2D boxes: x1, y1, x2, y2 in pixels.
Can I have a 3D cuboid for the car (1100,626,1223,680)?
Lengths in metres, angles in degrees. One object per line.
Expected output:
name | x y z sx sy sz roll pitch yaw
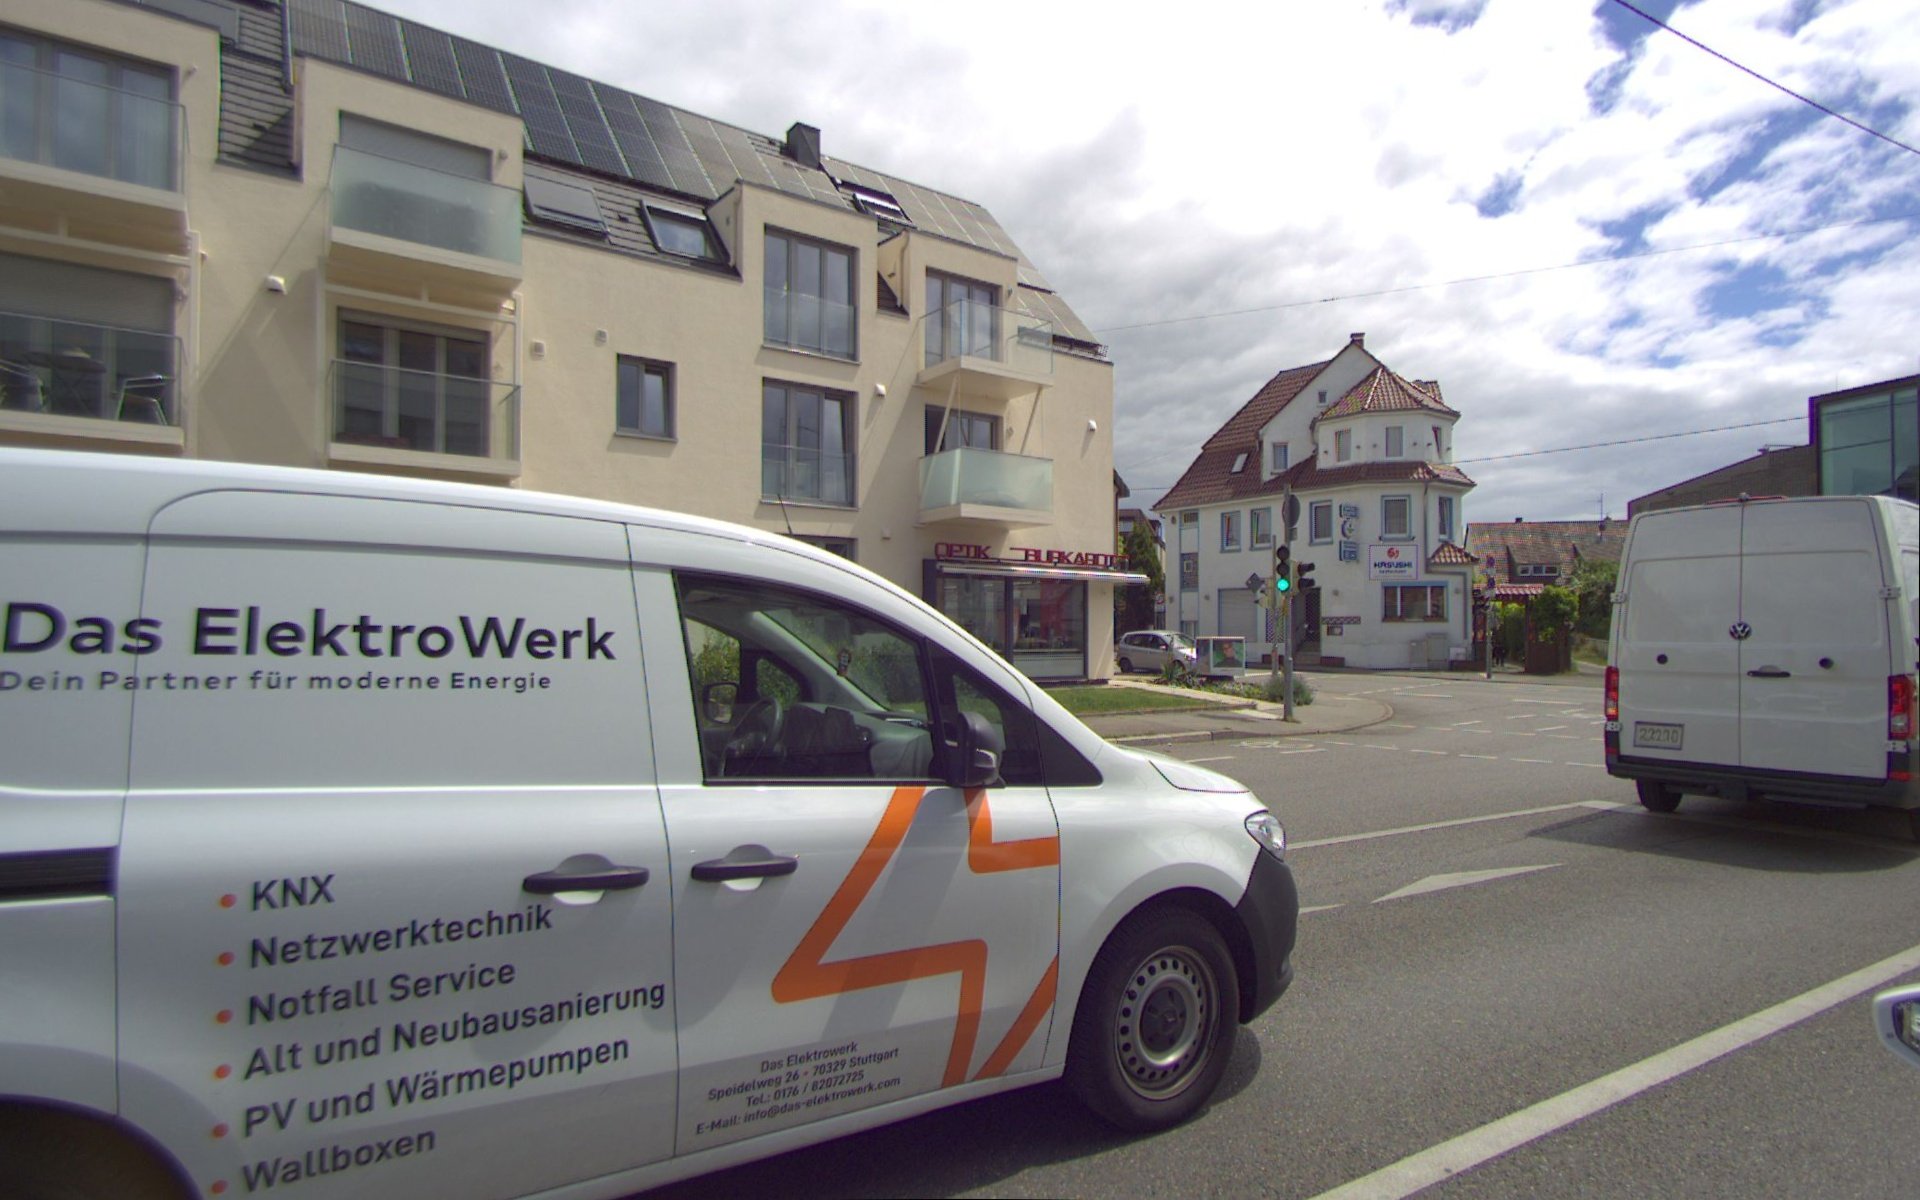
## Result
car | 7.028 1.815 35.323 1.981 1.706 3.959 2 -2 -36

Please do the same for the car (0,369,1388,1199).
car | -0.867 0.605 3.001 4.370 1.836 1.806 2 -1 -32

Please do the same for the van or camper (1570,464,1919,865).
van or camper | 7.853 0.535 9.117 5.594 2.620 2.092 2 -3 -38

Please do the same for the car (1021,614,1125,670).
car | 4.445 1.616 40.016 1.981 2.040 3.958 0 0 -37
